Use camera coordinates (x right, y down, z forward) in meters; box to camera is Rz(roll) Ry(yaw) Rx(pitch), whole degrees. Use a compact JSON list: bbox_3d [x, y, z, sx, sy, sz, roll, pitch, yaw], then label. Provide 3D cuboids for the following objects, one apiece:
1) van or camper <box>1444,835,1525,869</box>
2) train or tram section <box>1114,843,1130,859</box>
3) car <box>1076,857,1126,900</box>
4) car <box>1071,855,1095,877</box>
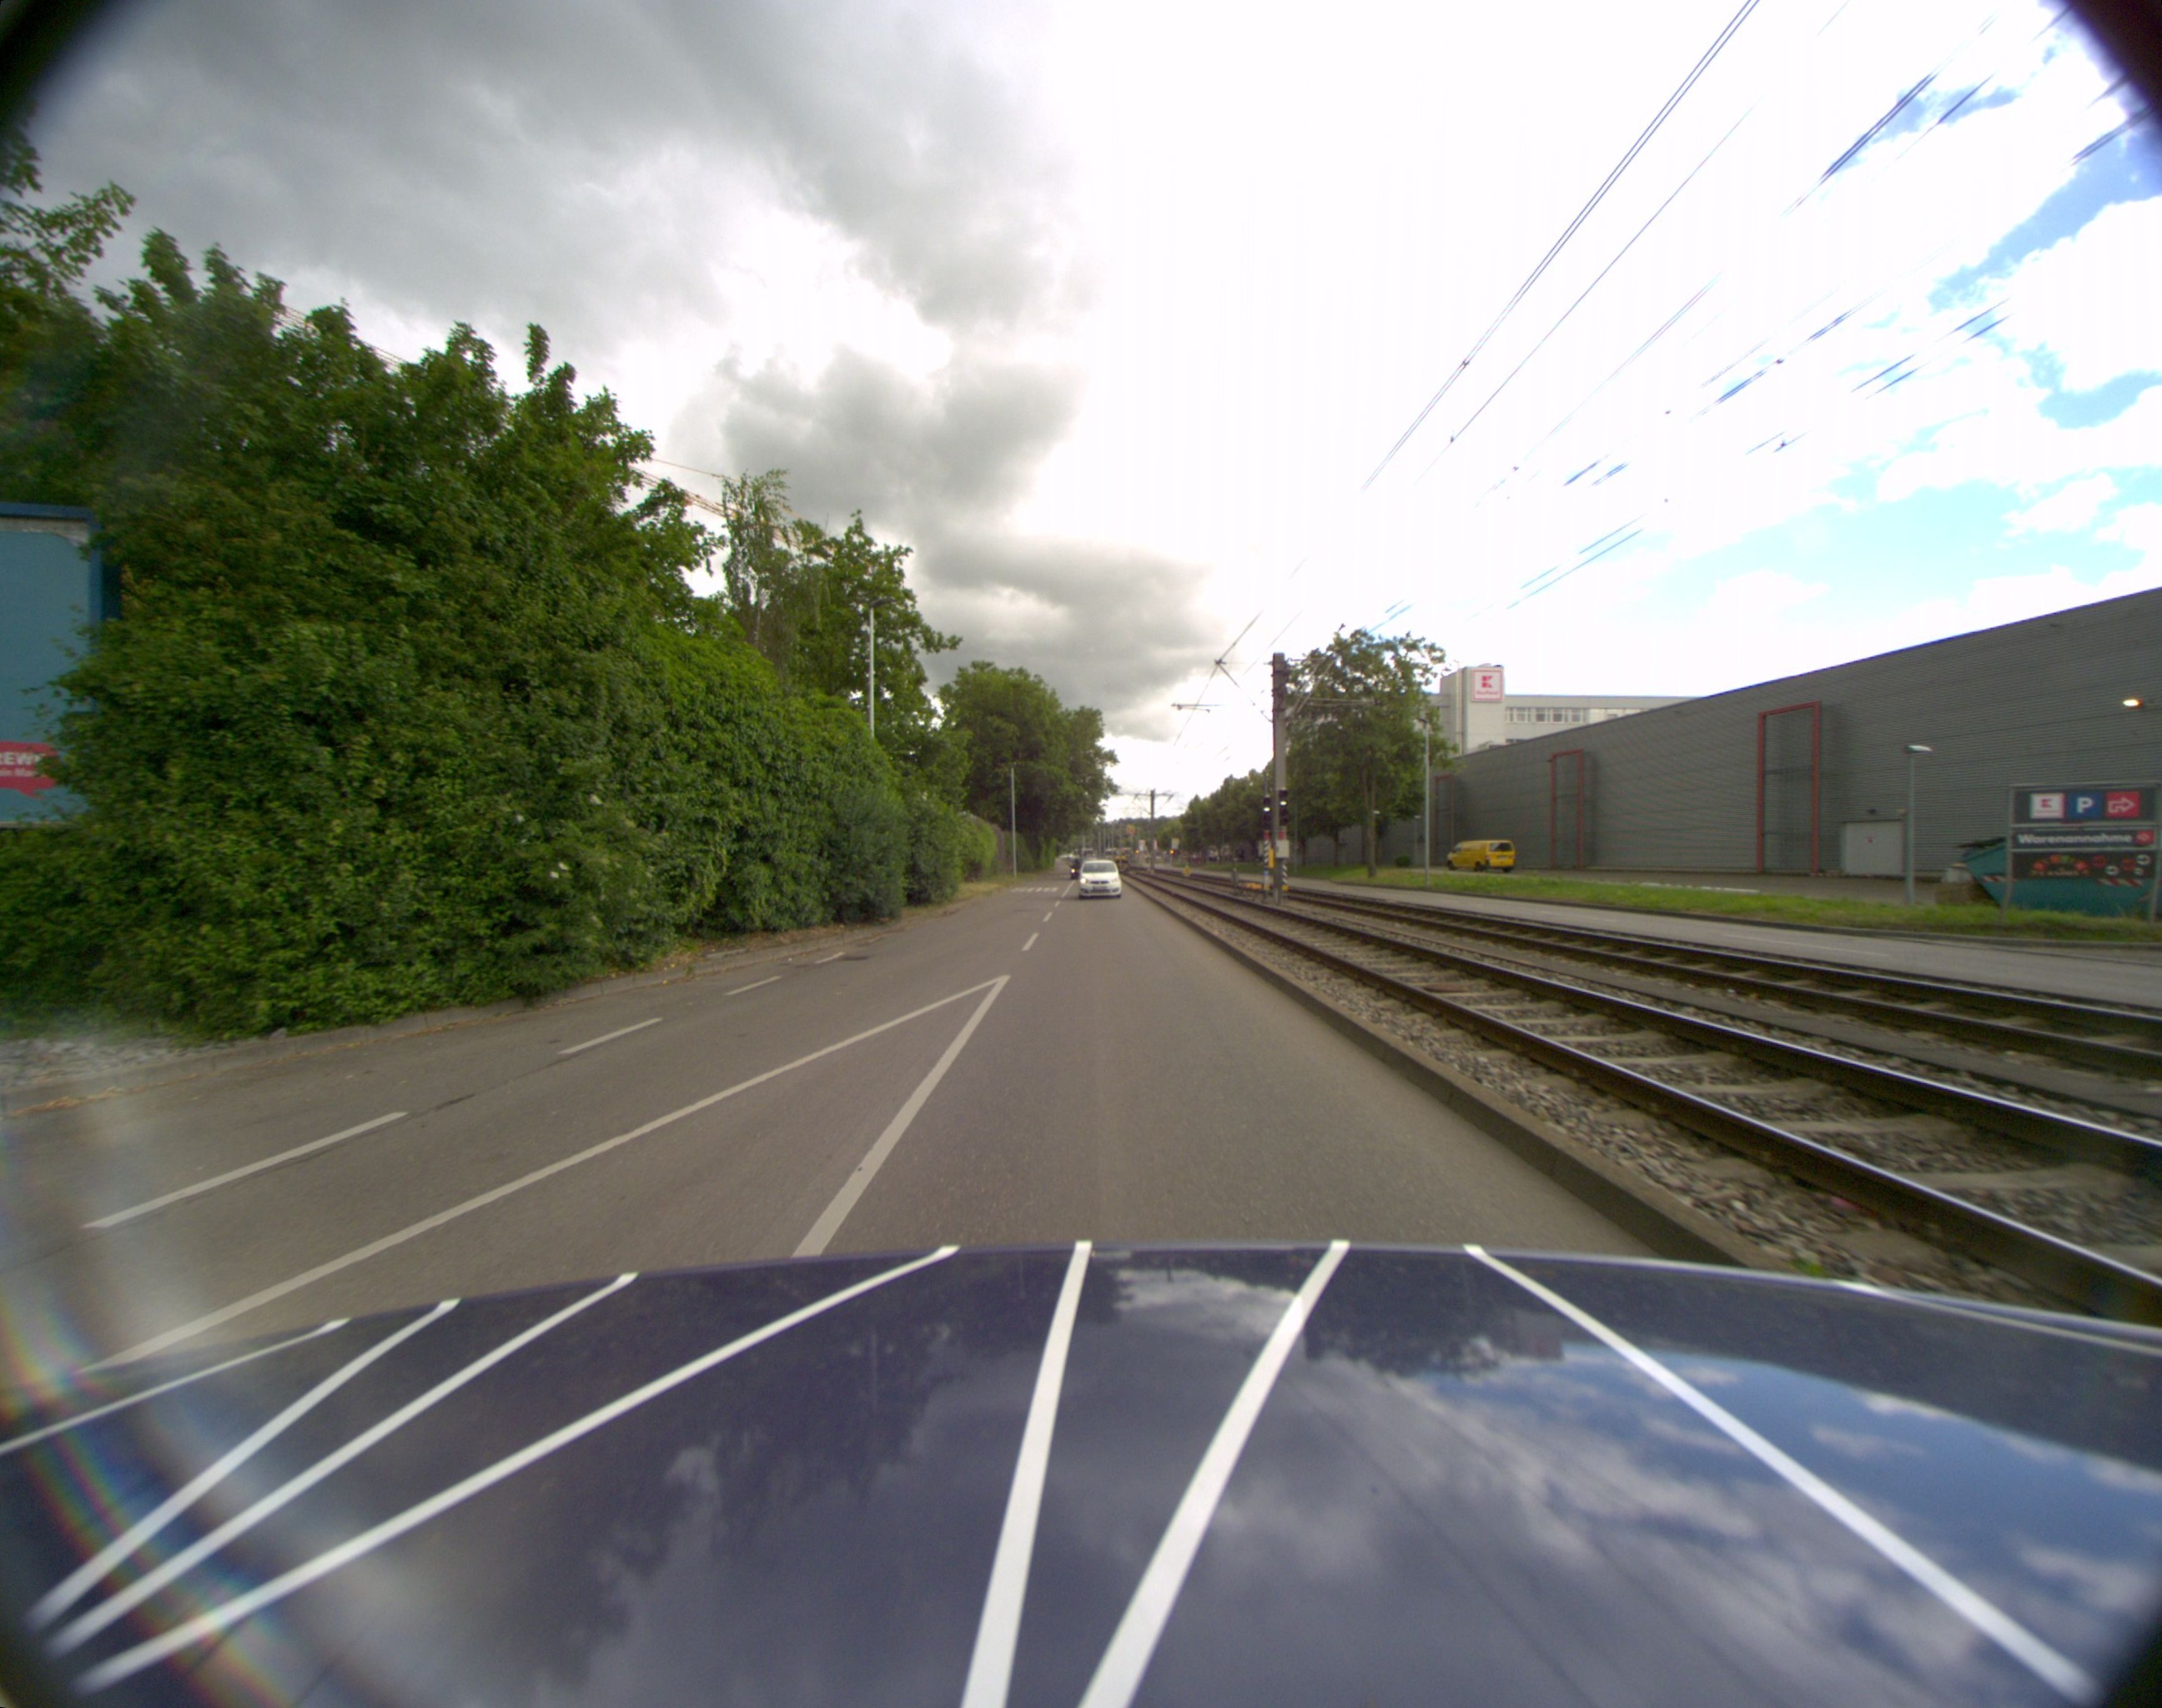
[{"bbox_3d":[24.904,-0.109,47.154,2.109,2.002,5.241,-1,0,-3],"label":"van or camper"},{"bbox_3d":[10.035,-0.603,186.418,2.778,3.753,13.785,-1,0,-1],"label":"train or tram section"},{"bbox_3d":[0.738,0.901,29.412,1.764,1.469,4.031,-2,0,0],"label":"car"},{"bbox_3d":[0.178,0.888,57.748,1.714,1.586,4.000,-1,0,1],"label":"car"}]
